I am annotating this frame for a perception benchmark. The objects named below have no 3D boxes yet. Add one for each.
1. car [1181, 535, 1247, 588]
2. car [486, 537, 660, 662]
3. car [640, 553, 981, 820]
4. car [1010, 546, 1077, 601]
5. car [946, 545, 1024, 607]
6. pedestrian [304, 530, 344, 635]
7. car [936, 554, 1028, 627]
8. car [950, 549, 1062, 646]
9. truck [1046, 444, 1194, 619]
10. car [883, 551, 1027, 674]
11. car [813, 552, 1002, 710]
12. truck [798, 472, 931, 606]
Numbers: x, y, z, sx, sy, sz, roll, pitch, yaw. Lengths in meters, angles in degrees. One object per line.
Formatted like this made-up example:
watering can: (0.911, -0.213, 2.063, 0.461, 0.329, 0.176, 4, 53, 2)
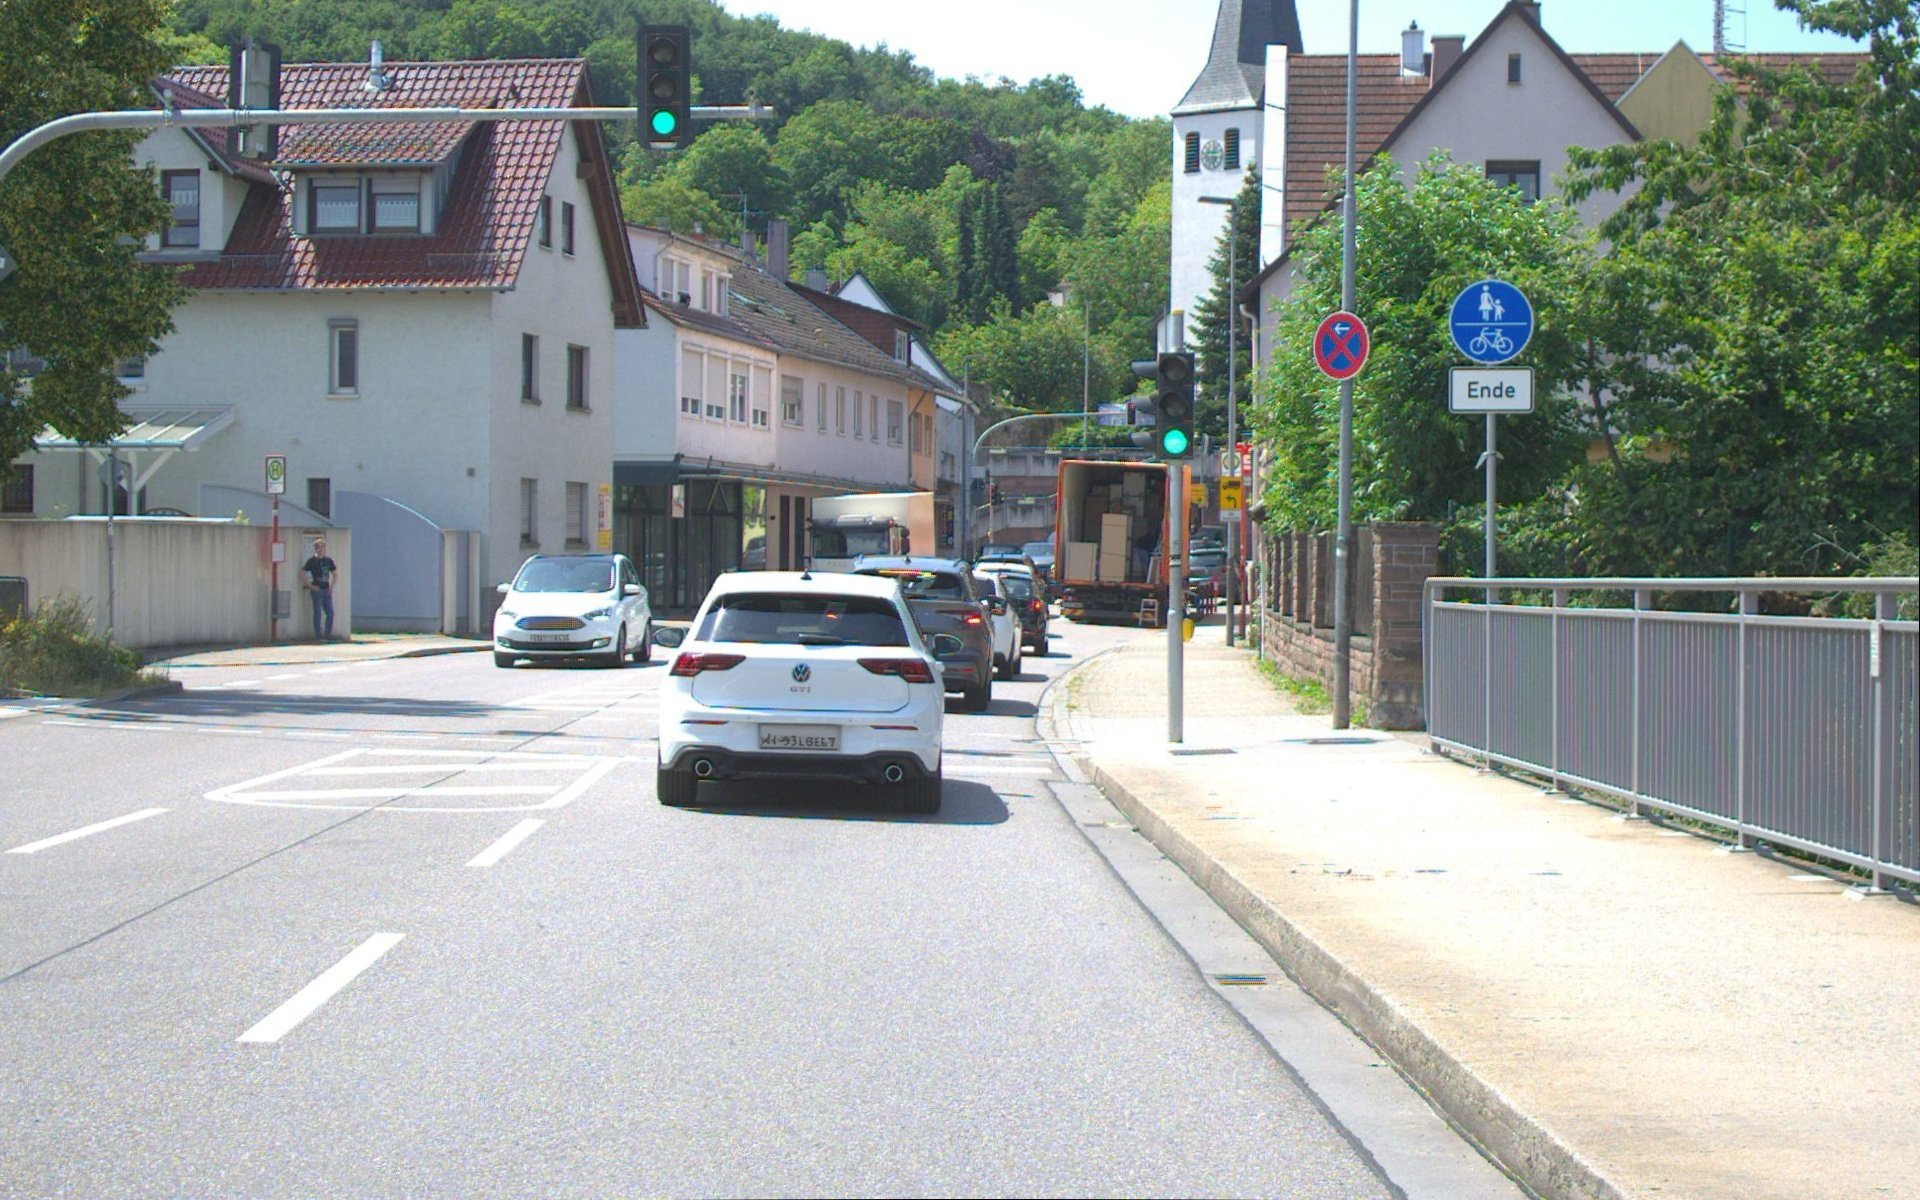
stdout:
car: (7.517, -1.126, 102.032, 1.815, 1.514, 4.000, 0, 0, 3)
car: (-5.477, -0.012, 49.120, 1.815, 1.644, 4.000, 2, 0, 3)
car: (-0.873, 0.502, 22.249, 1.815, 1.514, 4.000, 2, 0, 3)
car: (2.397, -0.745, 97.805, 1.815, 1.514, 4.000, 0, 0, 3)
car: (0.661, -0.600, 87.104, 1.815, 1.514, 4.000, 0, 0, 3)
pedestrian: (-10.700, -0.295, 57.837, 0.434, 1.758, 0.556, 1, 1, 22)
car: (0.489, -0.208, 73.712, 1.815, 1.514, 4.000, 0, 0, 3)
car: (0.836, -0.039, 59.998, 1.815, 1.623, 4.000, 0, 0, 3)
truck: (4.156, -1.647, 87.104, 3.367, 4.156, 9.517, 0, 0, 5)
car: (-0.034, 0.163, 47.896, 1.815, 1.623, 4.000, 0, 0, 3)
car: (-0.513, 0.315, 37.391, 1.815, 1.623, 4.000, 0, 0, 3)
truck: (-2.338, -1.475, 86.298, 2.502, 3.224, 6.038, 0, 0, 6)
